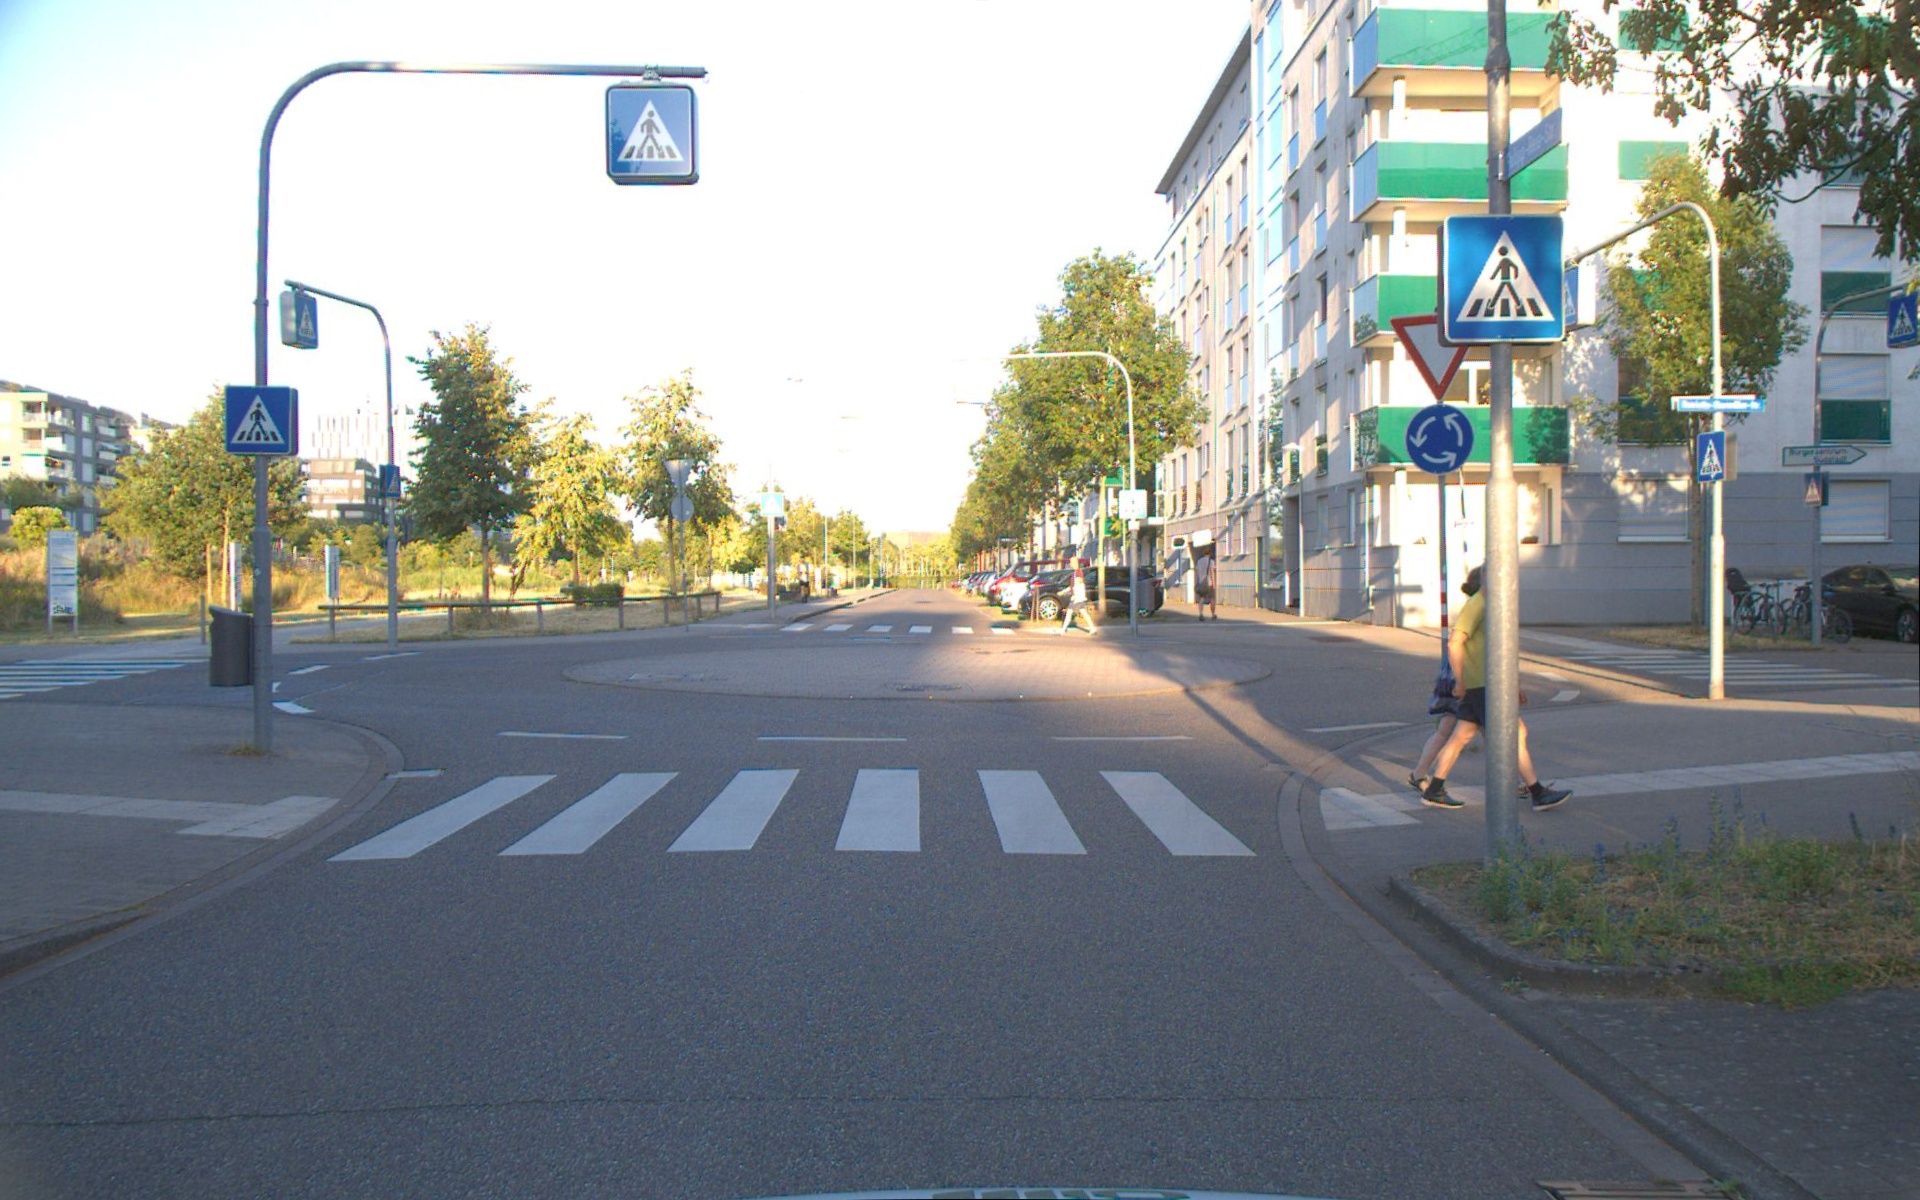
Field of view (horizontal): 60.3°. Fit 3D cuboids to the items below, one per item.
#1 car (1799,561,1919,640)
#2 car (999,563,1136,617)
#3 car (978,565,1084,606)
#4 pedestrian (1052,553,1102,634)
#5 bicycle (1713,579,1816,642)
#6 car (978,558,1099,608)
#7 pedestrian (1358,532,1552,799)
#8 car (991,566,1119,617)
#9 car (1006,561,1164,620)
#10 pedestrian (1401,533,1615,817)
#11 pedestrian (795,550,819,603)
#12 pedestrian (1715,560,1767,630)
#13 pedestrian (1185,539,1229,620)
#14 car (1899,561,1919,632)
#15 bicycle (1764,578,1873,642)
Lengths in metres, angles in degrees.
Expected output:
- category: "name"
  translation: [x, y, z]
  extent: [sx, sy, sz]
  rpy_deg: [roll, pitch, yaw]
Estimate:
- category: "car"
  translation: [18.766, -0.024, 32.609]
  extent: [1.954, 1.478, 4.591]
  rpy_deg: [-1, 1, -3]
- category: "car"
  translation: [3.393, -0.326, 52.783]
  extent: [4.266, 1.624, 2.000]
  rpy_deg: [-1, 1, 0]
- category: "car"
  translation: [2.875, -0.590, 67.719]
  extent: [4.177, 1.624, 1.999]
  rpy_deg: [-1, 1, -2]
- category: "pedestrian"
  translation: [2.646, -0.147, 37.634]
  extent: [0.984, 1.819, 0.761]
  rpy_deg: [1, 0, -8]
- category: "bicycle"
  translation: [15.685, 0.181, 32.324]
  extent: [0.682, 1.171, 2.459]
  rpy_deg: [-1, 1, -4]
- category: "car"
  translation: [3.312, -0.738, 70.781]
  extent: [4.906, 2.081, 2.248]
  rpy_deg: [-1, 1, -6]
- category: "pedestrian"
  translation: [3.464, 0.435, 11.623]
  extent: [0.966, 1.722, 0.698]
  rpy_deg: [-6, 2, -13]
- category: "car"
  translation: [3.146, -0.289, 55.511]
  extent: [4.176, 1.624, 2.000]
  rpy_deg: [-1, 1, 0]
- category: "car"
  translation: [3.551, -0.270, 47.634]
  extent: [4.392, 1.624, 2.000]
  rpy_deg: [-1, 1, 0]
- category: "pedestrian"
  translation: [3.605, 0.465, 10.927]
  extent: [1.001, 1.722, 0.757]
  rpy_deg: [-5, 1, -12]
- category: "pedestrian"
  translation: [-5.941, -0.923, 64.279]
  extent: [0.851, 2.049, 0.787]
  rpy_deg: [-1, 1, -12]
- category: "pedestrian"
  translation: [15.635, -0.105, 33.119]
  extent: [0.644, 1.379, 0.802]
  rpy_deg: [-1, 1, -4]
- category: "pedestrian"
  translation: [6.367, -0.536, 42.693]
  extent: [0.922, 2.049, 0.848]
  rpy_deg: [-1, 1, -5]
- category: "car"
  translation: [21.176, -0.061, 33.129]
  extent: [1.954, 1.478, 4.591]
  rpy_deg: [-1, 1, -3]
- category: "bicycle"
  translation: [16.530, 0.174, 31.928]
  extent: [0.674, 1.171, 2.520]
  rpy_deg: [-1, 1, -4]
